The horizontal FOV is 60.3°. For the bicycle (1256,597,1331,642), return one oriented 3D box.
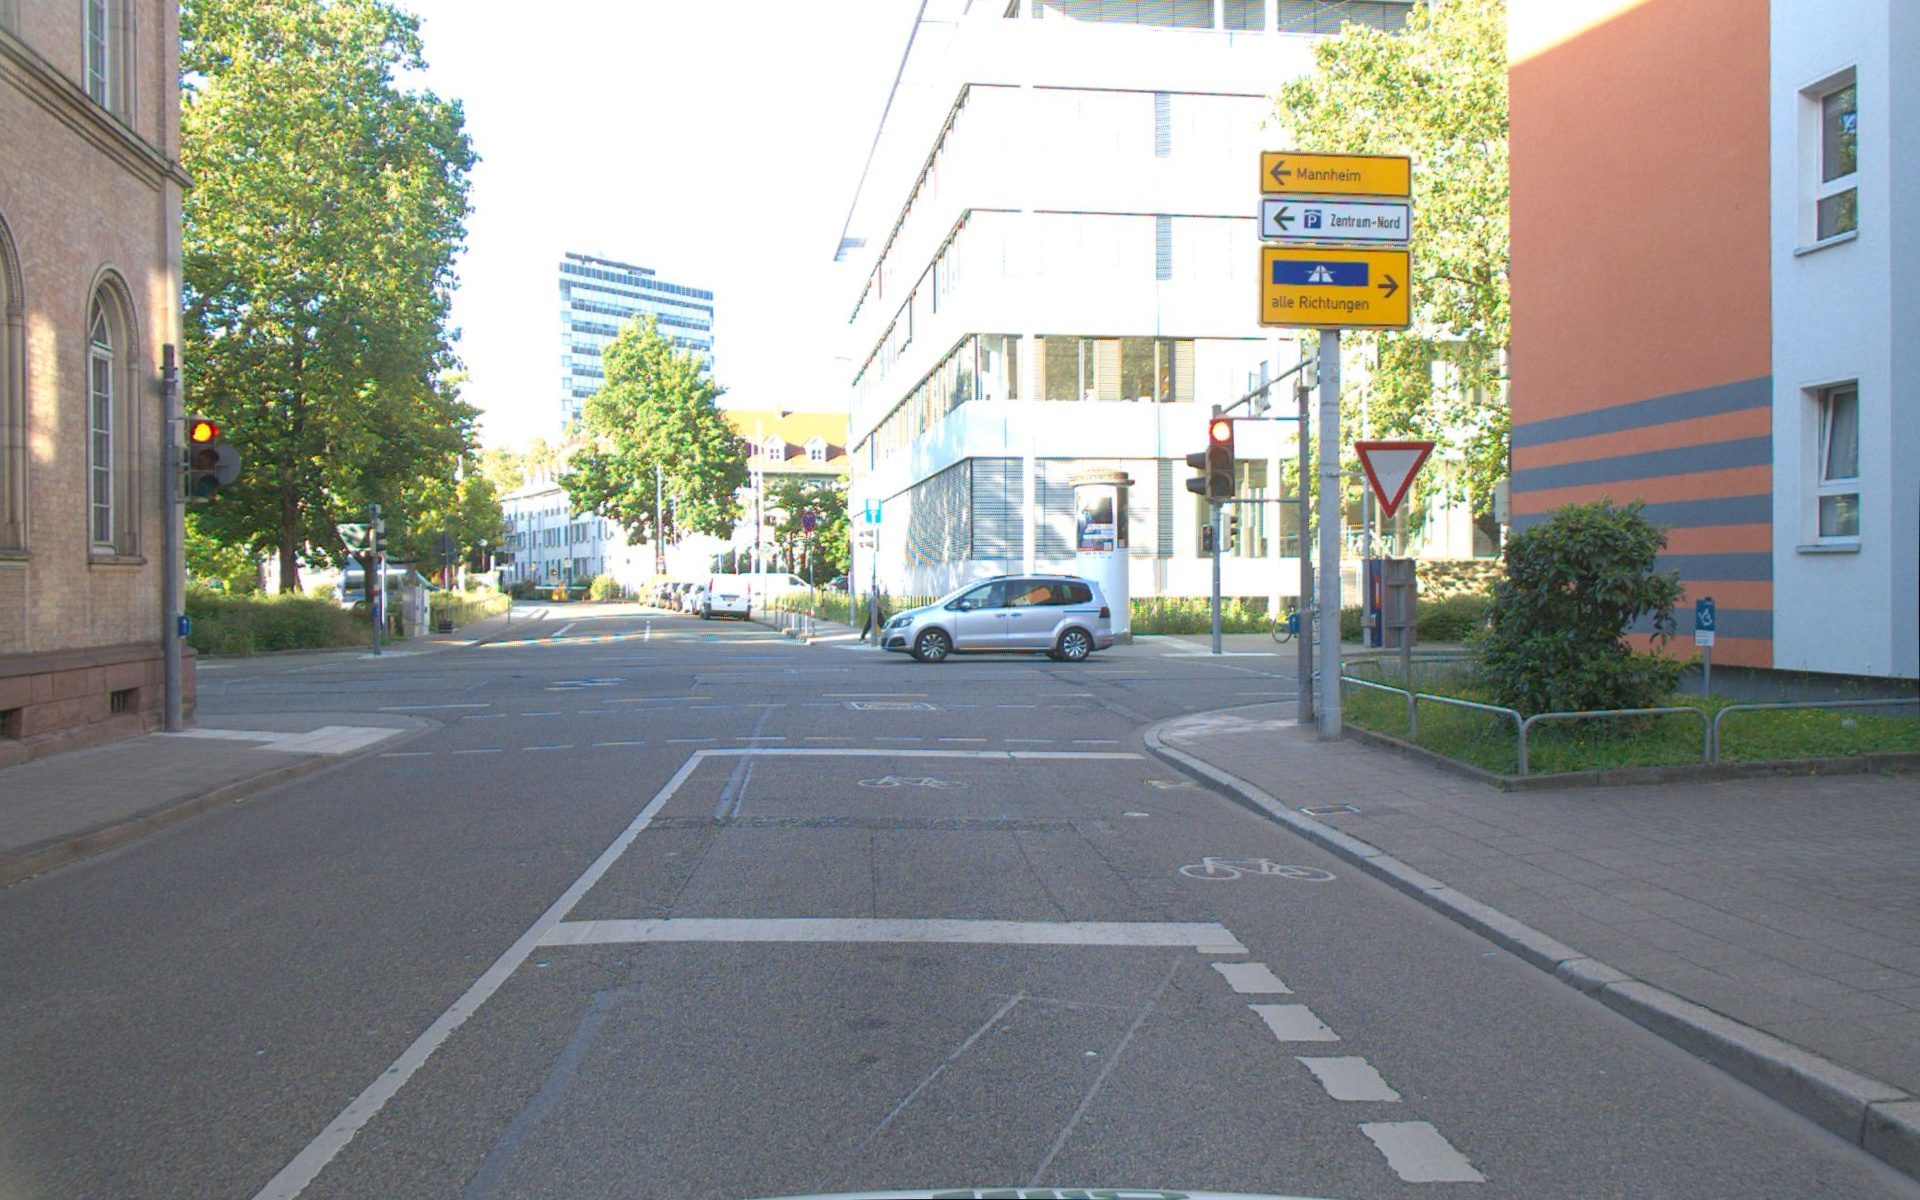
[{"bbox_3d":[8.177,0.472,40.559,0.461,1.067,1.884,-1,1,-43],"label":"bicycle"}]

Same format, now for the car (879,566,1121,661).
[{"bbox_3d":[0.770,0.255,33.557,4.670,1.736,1.796,-2,1,-8],"label":"car"}]

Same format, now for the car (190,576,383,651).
[{"bbox_3d":[-16.850,0.310,41.551,4.148,1.808,1.900,-1,1,-11],"label":"car"}]

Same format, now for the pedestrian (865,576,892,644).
[{"bbox_3d":[-2.151,0.253,43.514,0.640,1.766,0.811,-1,0,-8],"label":"pedestrian"}]

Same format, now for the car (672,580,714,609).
[{"bbox_3d":[-13.678,-0.284,84.651,1.676,1.449,4.221,-1,1,-15],"label":"car"}]

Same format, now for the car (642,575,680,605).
[{"bbox_3d":[-17.916,-0.614,99.049,2.064,1.687,4.461,-1,1,-13],"label":"car"}]

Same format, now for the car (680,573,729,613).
[{"bbox_3d":[-12.386,-0.357,80.074,1.914,1.826,4.222,-1,1,-14],"label":"car"}]

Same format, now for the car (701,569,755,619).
[{"bbox_3d":[-9.597,-0.258,68.240,2.030,1.997,4.227,-1,1,-10],"label":"car"}]

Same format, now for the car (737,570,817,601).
[{"bbox_3d":[-11.763,-0.887,106.503,4.807,1.905,1.989,1,0,-19],"label":"car"}]

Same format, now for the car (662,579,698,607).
[{"bbox_3d":[-15.141,-0.396,89.337,1.675,1.489,4.224,-1,1,-13],"label":"car"}]
